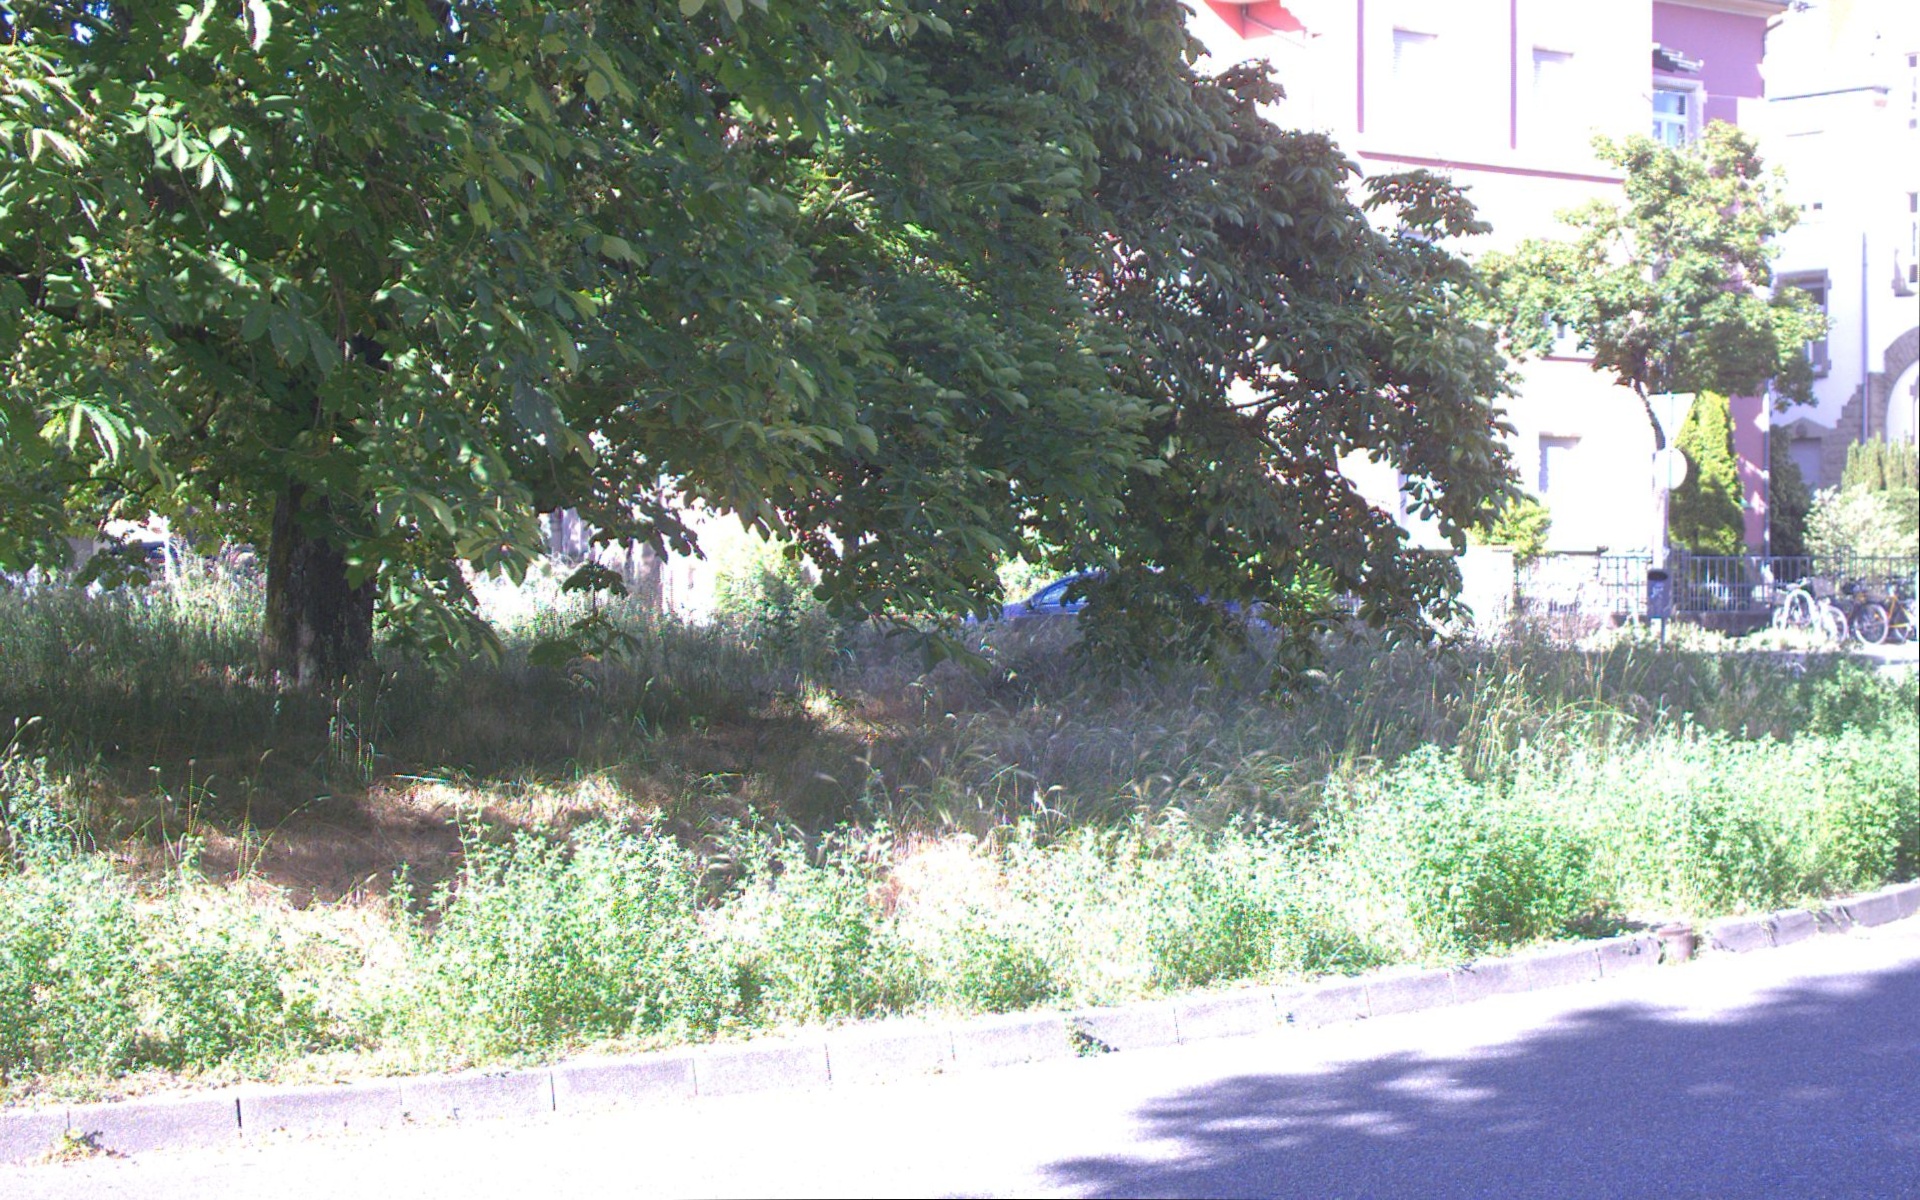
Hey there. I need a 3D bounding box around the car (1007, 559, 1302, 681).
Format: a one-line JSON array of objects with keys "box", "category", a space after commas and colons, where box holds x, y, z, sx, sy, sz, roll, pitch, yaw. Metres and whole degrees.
[{"box": [2.503, 0.226, 45.081, 1.823, 1.527, 4.000, -1, 1, -34], "category": "car"}]

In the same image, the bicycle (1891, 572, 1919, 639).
[{"box": [16.601, 0.114, 58.000, 0.499, 1.103, 1.726, -1, 3, -40], "category": "bicycle"}]

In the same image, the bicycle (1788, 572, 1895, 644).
[{"box": [14.434, 0.121, 56.325, 0.544, 1.111, 1.727, -1, 3, -37], "category": "bicycle"}]

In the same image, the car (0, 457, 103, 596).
[{"box": [-19.766, -1.457, 66.895, 6.367, 2.591, 2.100, 2, 1, 32], "category": "car"}]

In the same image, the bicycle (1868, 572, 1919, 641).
[{"box": [16.135, 0.120, 57.635, 0.499, 1.103, 1.726, -1, 3, -44], "category": "bicycle"}]

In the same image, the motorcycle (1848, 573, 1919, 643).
[{"box": [15.706, 0.130, 57.268, 0.499, 1.103, 1.726, -1, 3, -44], "category": "motorcycle"}]

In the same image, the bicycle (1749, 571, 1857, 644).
[{"box": [13.668, 0.109, 55.788, 0.544, 1.111, 1.727, -1, 3, -37], "category": "bicycle"}]

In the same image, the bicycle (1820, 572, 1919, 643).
[{"box": [15.191, 0.116, 56.832, 1.828, 1.103, 0.500, 3, 3, 38], "category": "bicycle"}]
